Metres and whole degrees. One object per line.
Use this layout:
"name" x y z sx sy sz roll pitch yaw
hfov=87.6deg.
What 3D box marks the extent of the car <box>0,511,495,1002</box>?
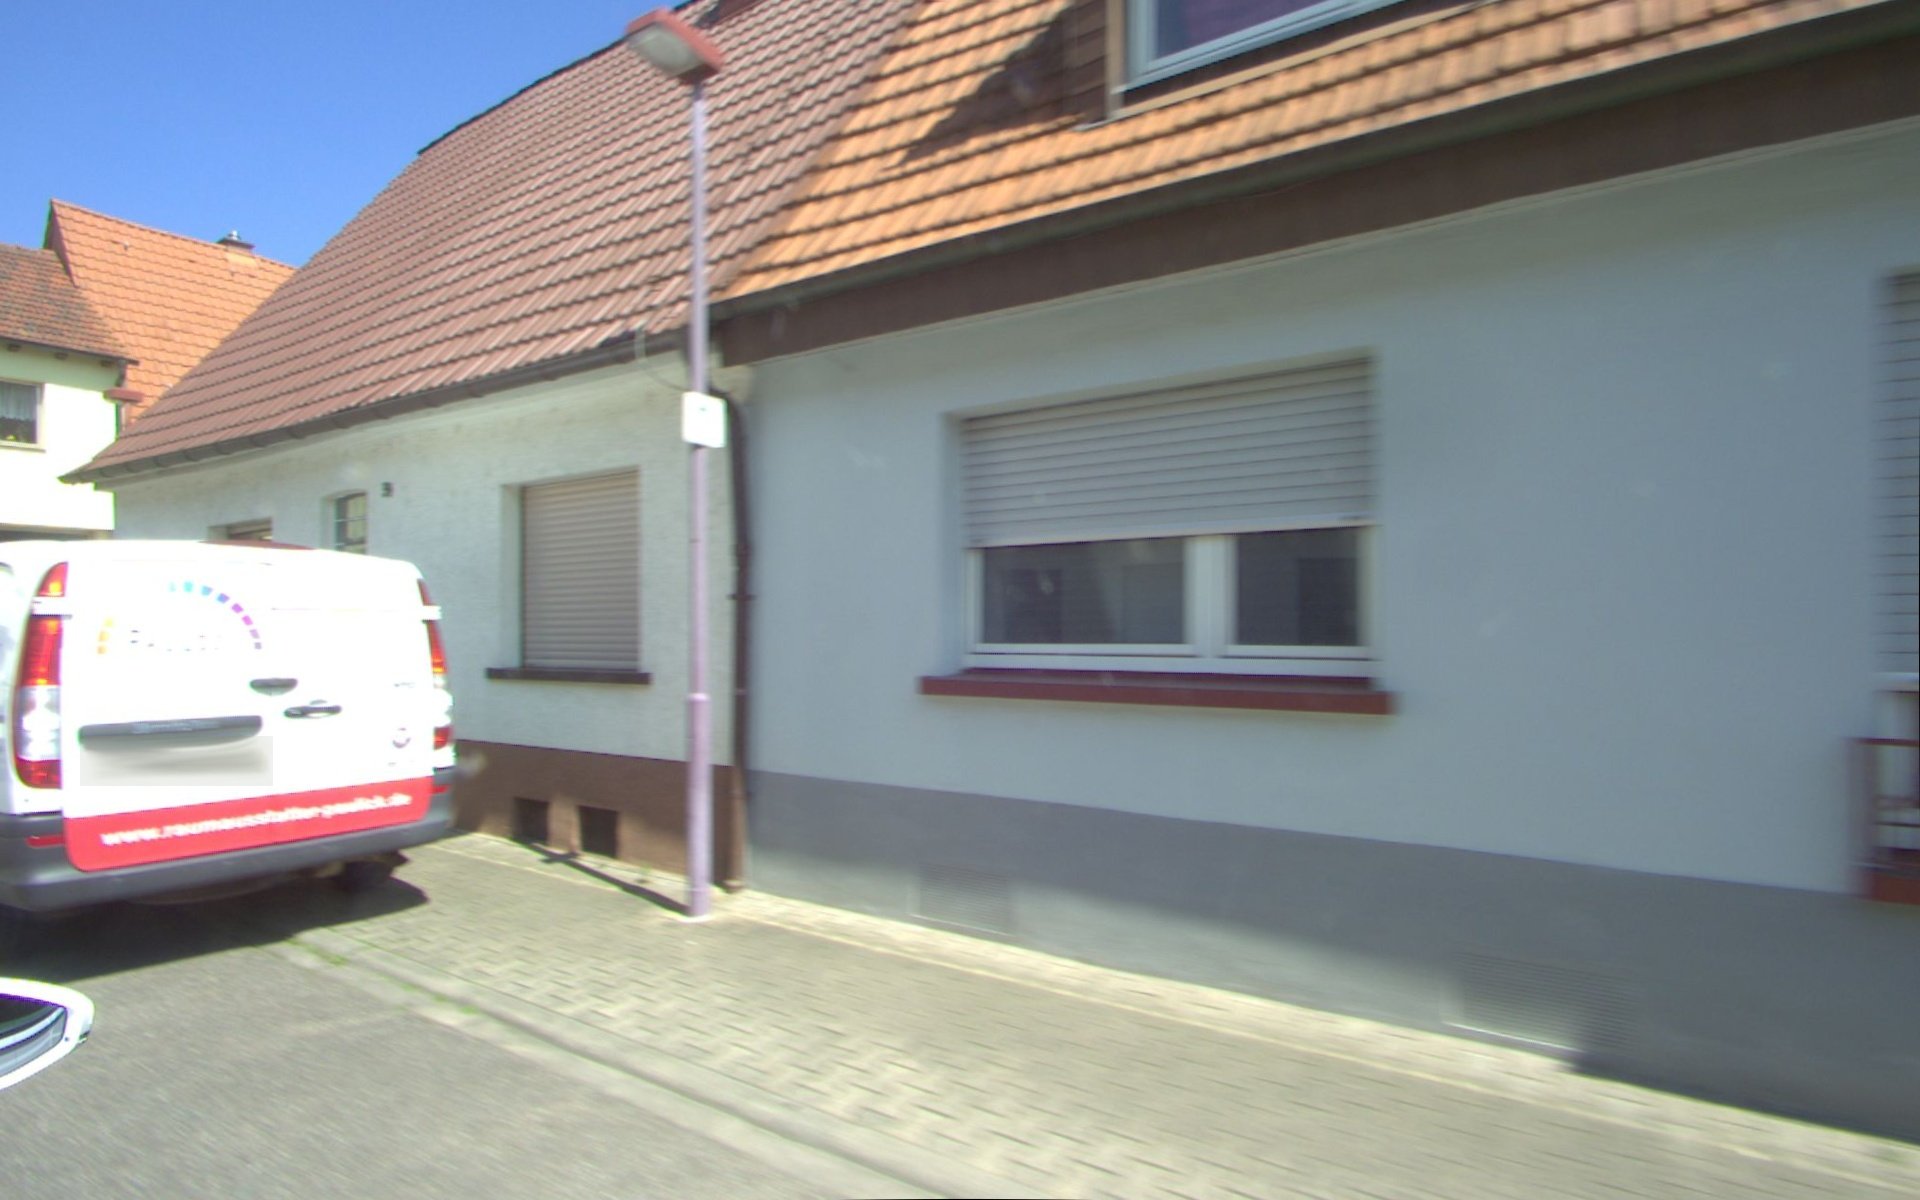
"car" -5.249 0.678 6.083 5.193 1.862 2.009 -1 -3 34
